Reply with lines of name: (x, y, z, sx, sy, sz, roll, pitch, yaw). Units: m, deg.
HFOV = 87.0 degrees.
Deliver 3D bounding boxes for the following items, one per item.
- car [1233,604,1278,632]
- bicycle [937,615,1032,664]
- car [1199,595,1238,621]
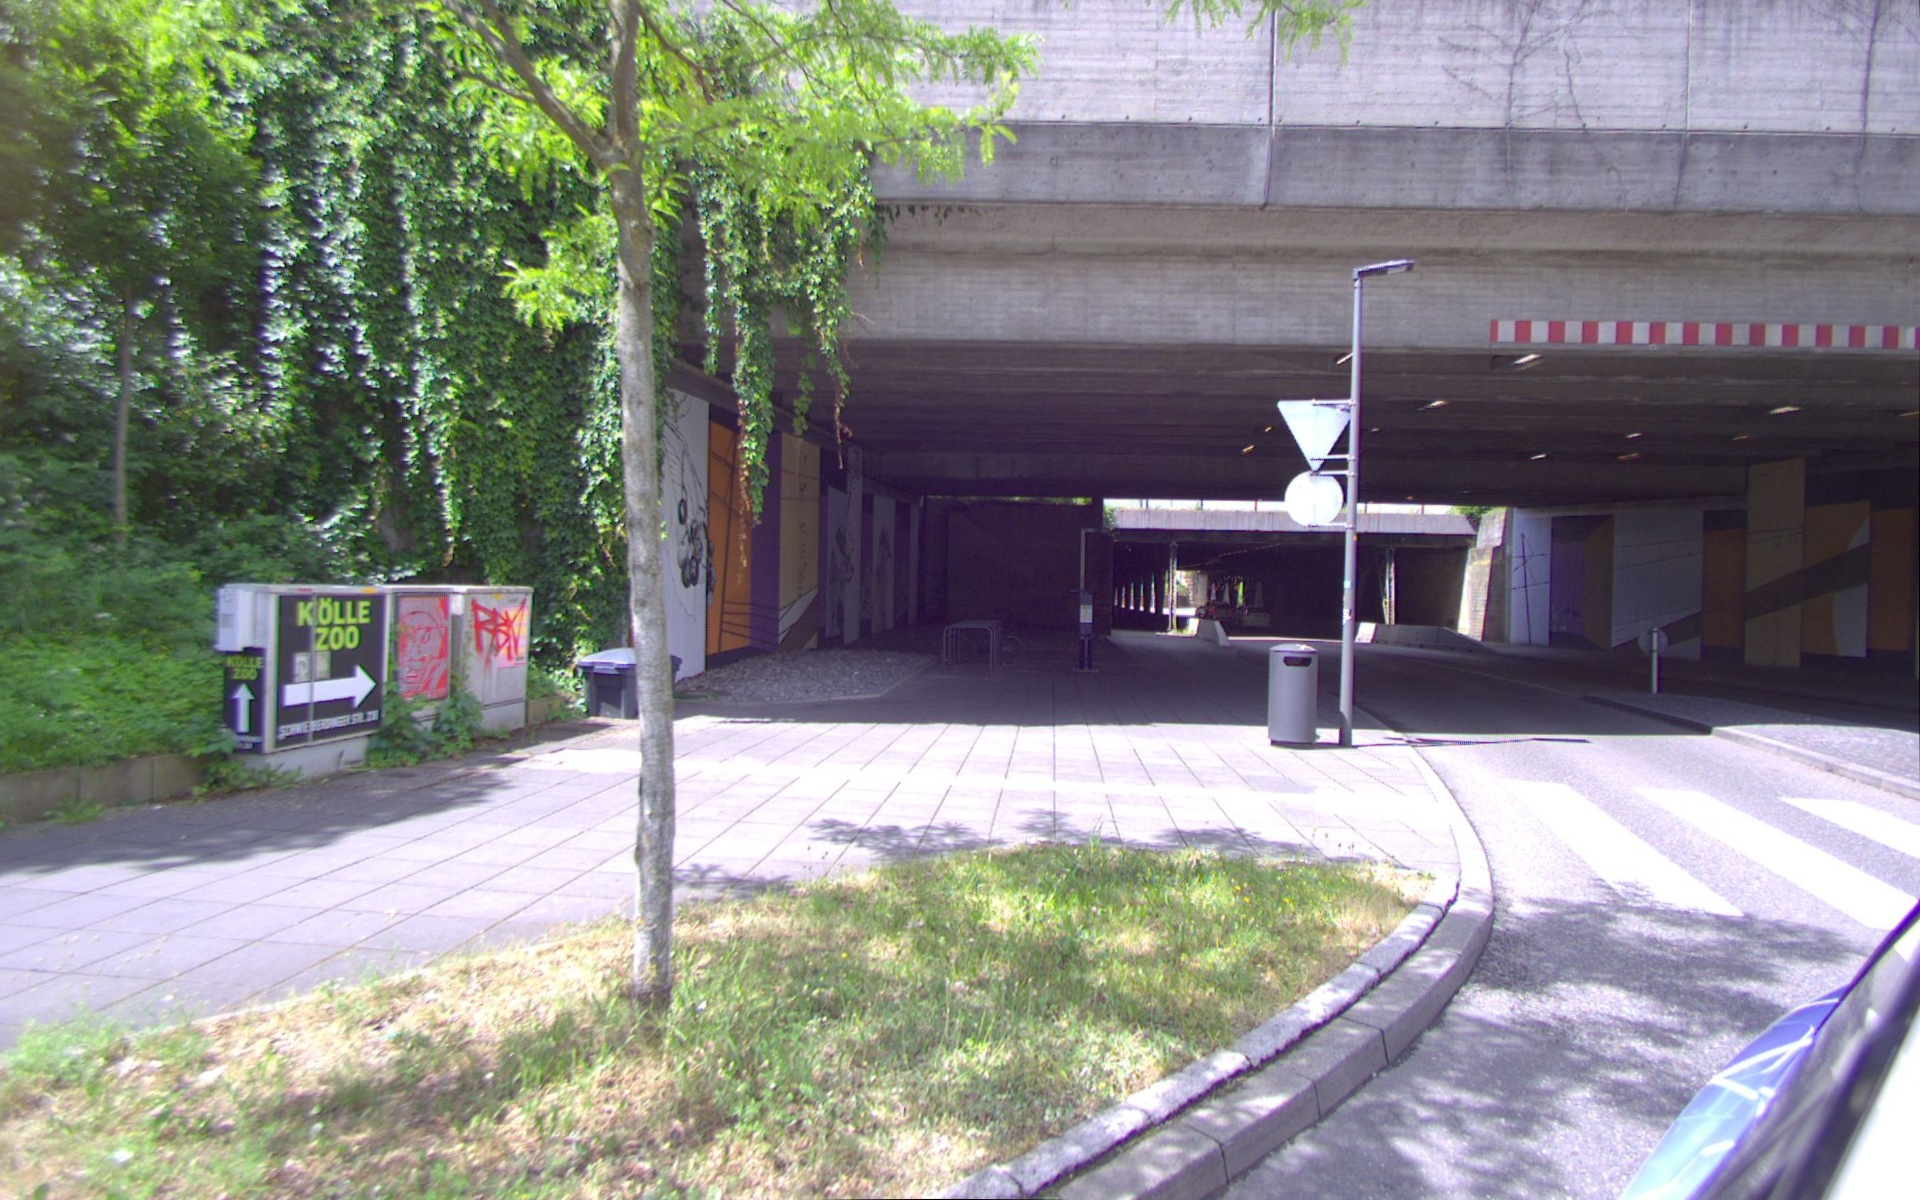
car: (16.742, 0.999, 57.544, 1.647, 1.466, 3.848, 2, 0, 4)
bicycle: (0.515, 0.815, 21.040, 1.917, 0.915, 0.506, 2, 1, 5)
car: (17.562, 0.516, 68.977, 1.799, 1.674, 4.209, 2, 0, 4)
